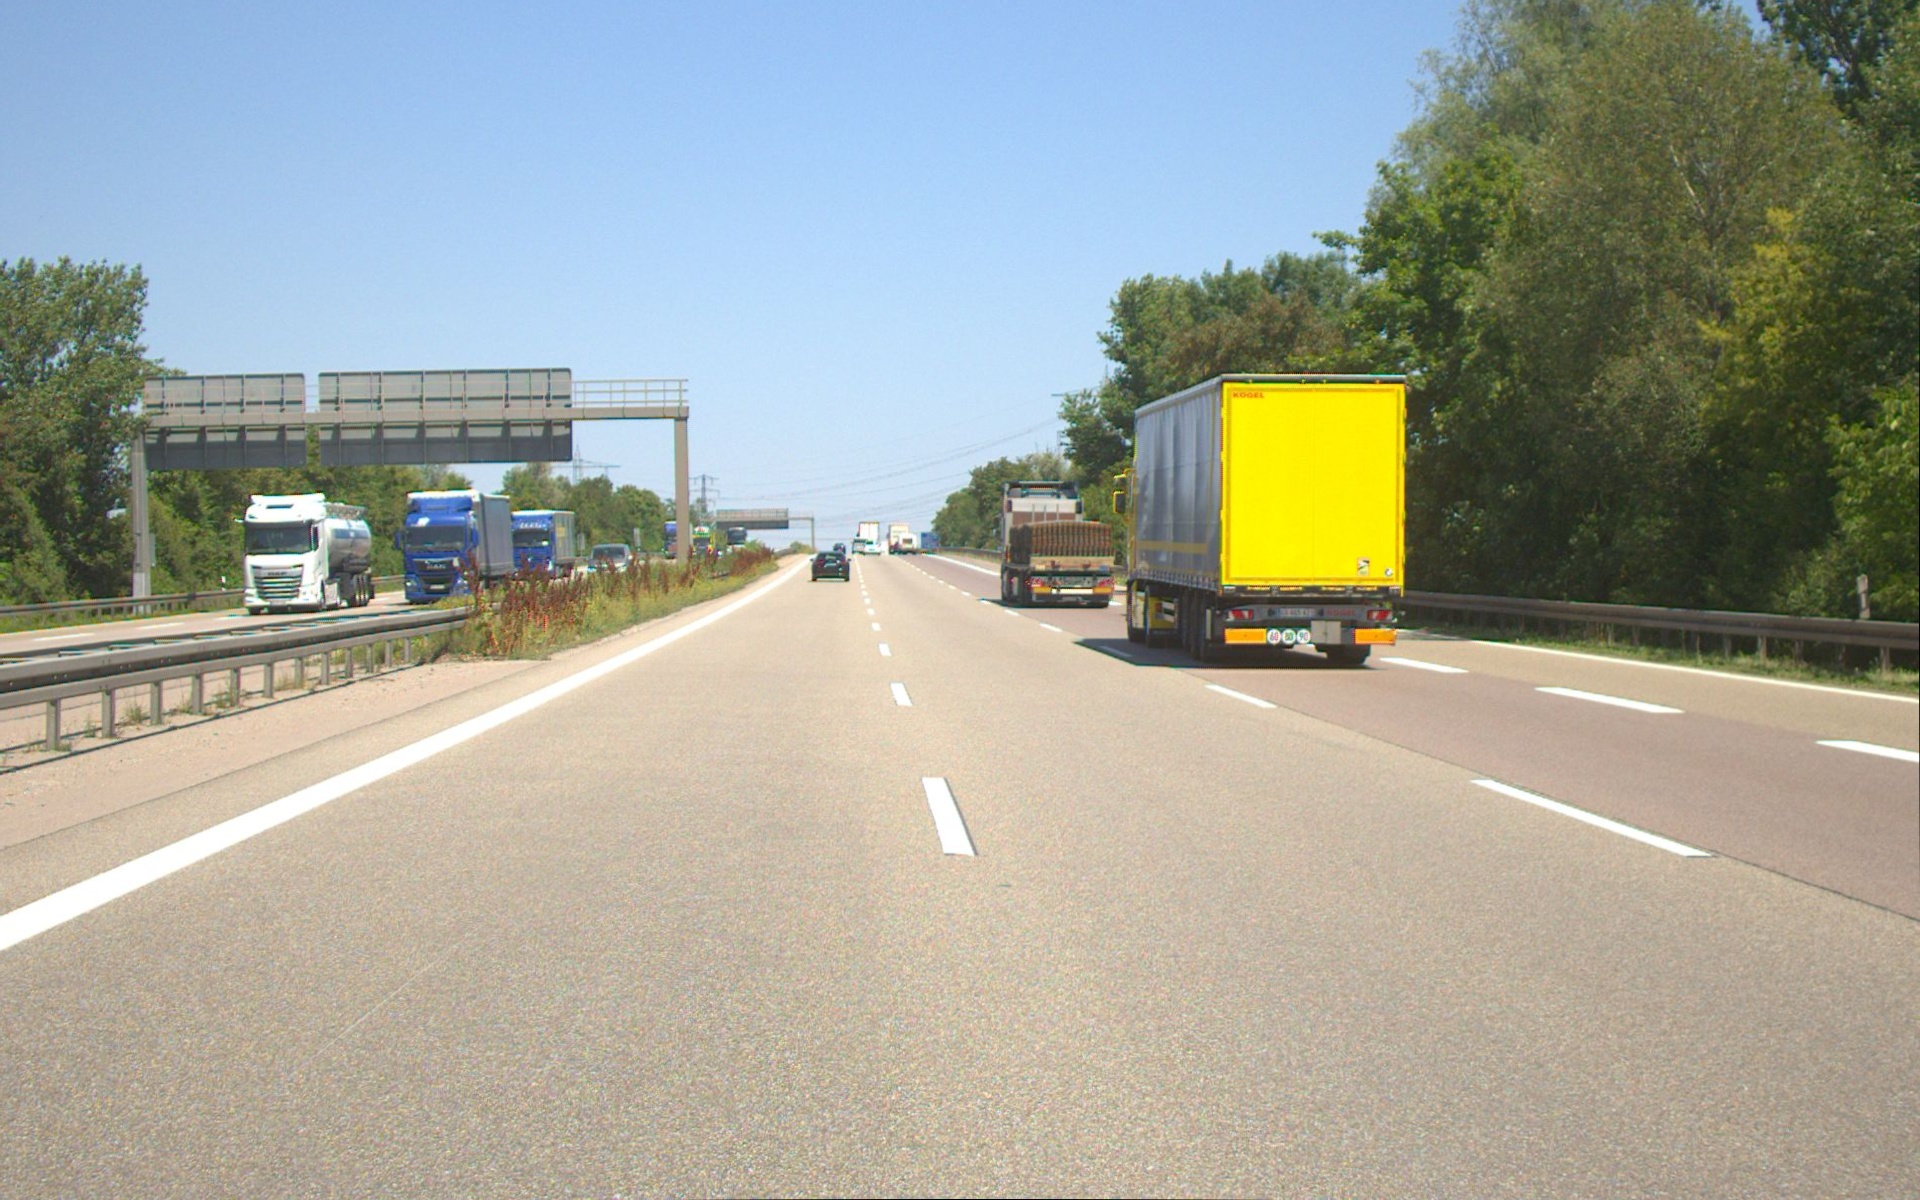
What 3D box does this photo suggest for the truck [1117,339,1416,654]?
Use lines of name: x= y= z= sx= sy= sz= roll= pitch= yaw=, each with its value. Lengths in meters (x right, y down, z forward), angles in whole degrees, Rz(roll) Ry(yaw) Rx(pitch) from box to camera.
truck: x=4.548 y=-1.487 z=55.090 sx=2.845 sy=4.243 sz=16.793 roll=-1 pitch=1 yaw=-1

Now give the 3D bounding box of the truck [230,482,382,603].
truck: x=-23.253 y=-2.061 z=123.231 sx=2.955 sy=4.004 sz=15.822 roll=-1 pitch=1 yaw=-2

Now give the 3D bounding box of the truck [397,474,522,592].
truck: x=-19.341 y=-2.586 z=133.995 sx=2.955 sy=4.231 sz=17.184 roll=-1 pitch=1 yaw=-2

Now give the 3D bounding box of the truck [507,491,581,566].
truck: x=-25.453 y=-4.335 z=211.041 sx=2.955 sy=4.327 sz=18.244 roll=-1 pitch=1 yaw=-2

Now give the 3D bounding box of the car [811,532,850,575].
car: x=-6.105 y=-2.179 z=162.476 sx=1.791 sy=2.007 sz=3.888 roll=1 pitch=0 yaw=-1

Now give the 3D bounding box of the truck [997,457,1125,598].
truck: x=2.928 y=-2.114 z=104.742 sx=2.969 sy=3.943 sz=16.614 roll=1 pitch=1 yaw=-1
